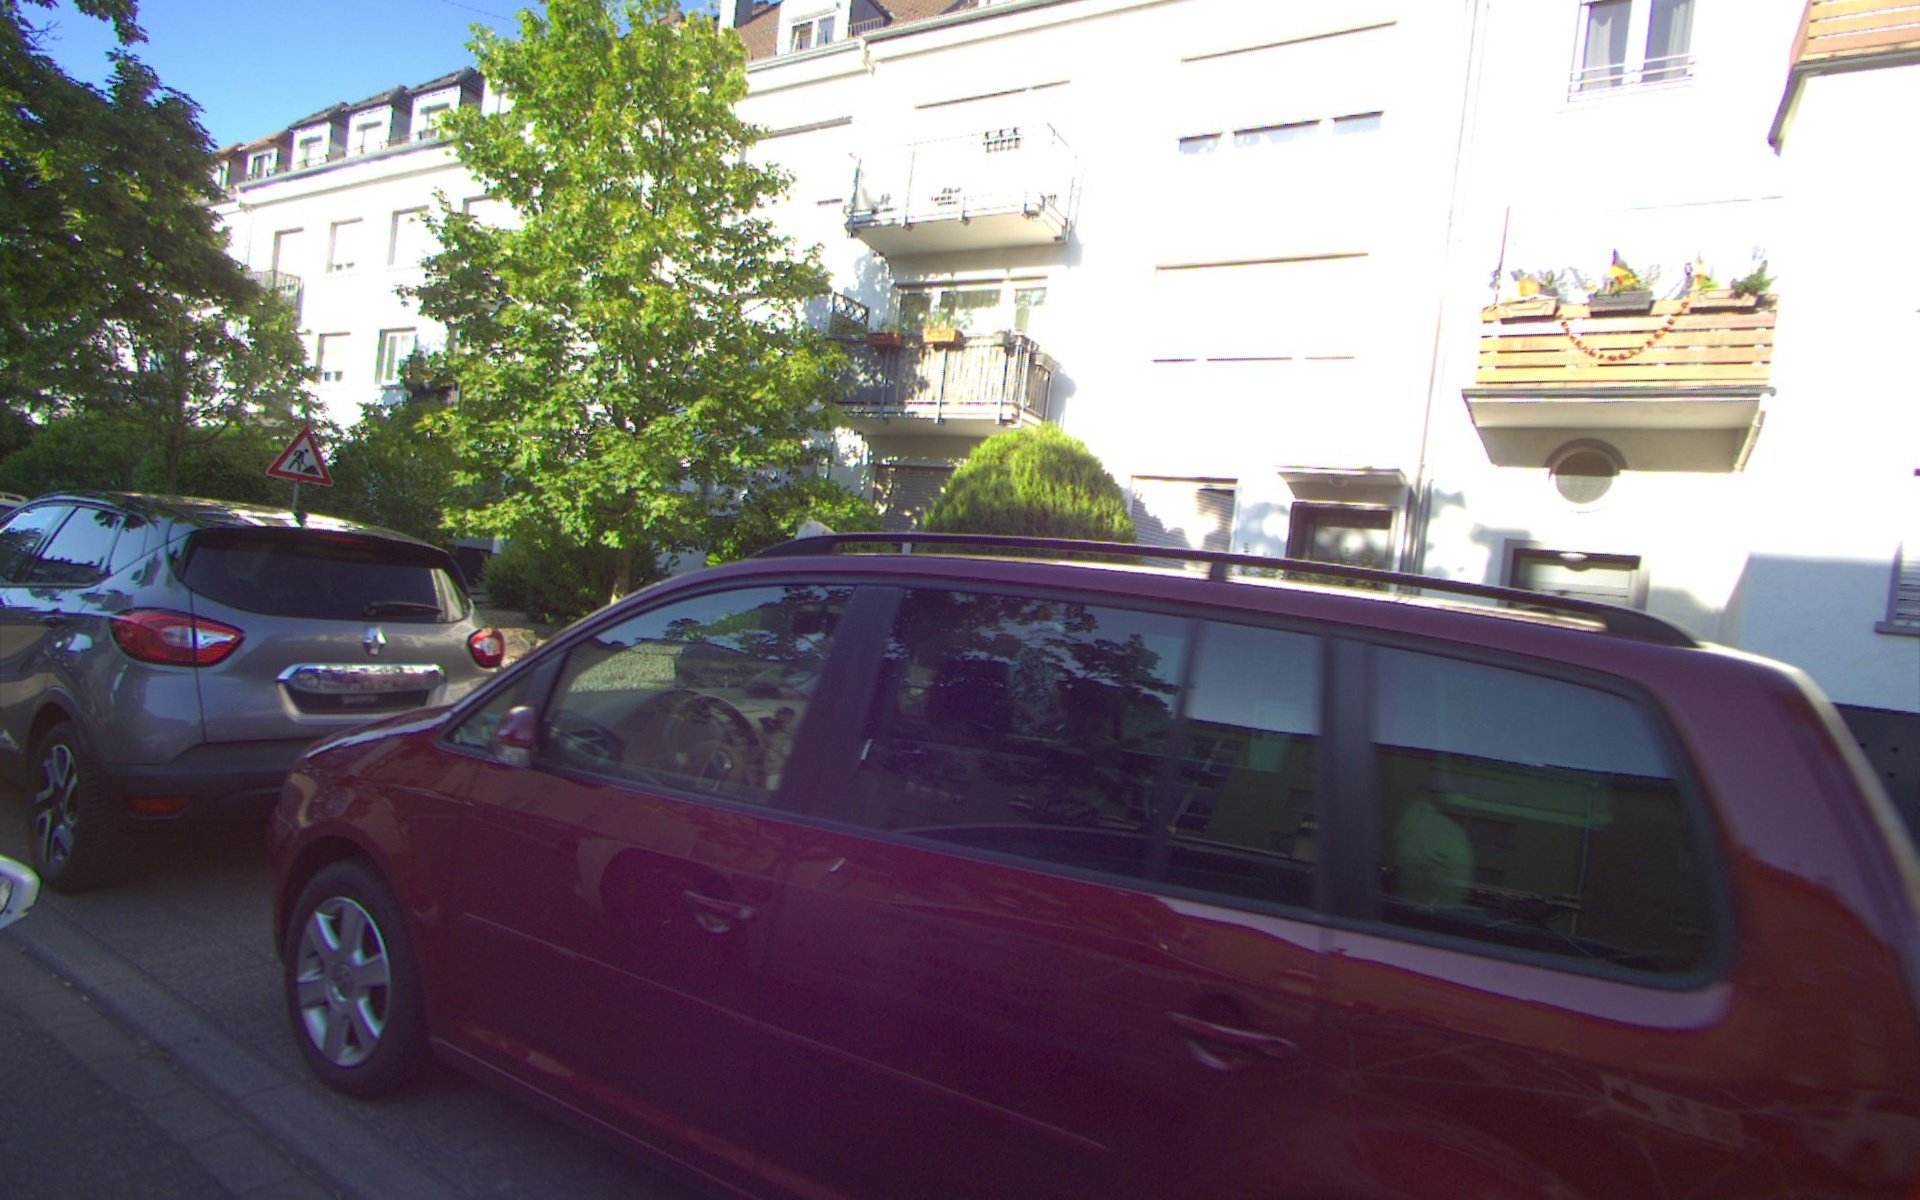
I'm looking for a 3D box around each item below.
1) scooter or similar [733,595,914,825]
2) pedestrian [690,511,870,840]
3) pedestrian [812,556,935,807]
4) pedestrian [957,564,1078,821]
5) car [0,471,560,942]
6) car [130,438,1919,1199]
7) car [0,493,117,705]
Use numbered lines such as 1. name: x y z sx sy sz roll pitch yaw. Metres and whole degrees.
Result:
1. scooter or similar: -0.881 0.693 6.547 0.710 1.333 0.746 7 0 38
2. pedestrian: -1.115 0.435 6.217 0.753 1.872 0.548 7 1 38
3. pedestrian: -0.628 0.583 7.351 0.518 1.718 0.511 7 0 27
4. pedestrian: 0.418 0.647 7.209 0.518 1.718 0.511 7 0 27
5. car: -4.088 0.248 5.194 3.934 1.588 1.638 7 1 32
6. car: -0.098 0.629 2.780 4.518 1.676 1.725 7 0 29
7. car: -8.772 -0.220 8.123 4.342 1.509 1.638 7 1 31
